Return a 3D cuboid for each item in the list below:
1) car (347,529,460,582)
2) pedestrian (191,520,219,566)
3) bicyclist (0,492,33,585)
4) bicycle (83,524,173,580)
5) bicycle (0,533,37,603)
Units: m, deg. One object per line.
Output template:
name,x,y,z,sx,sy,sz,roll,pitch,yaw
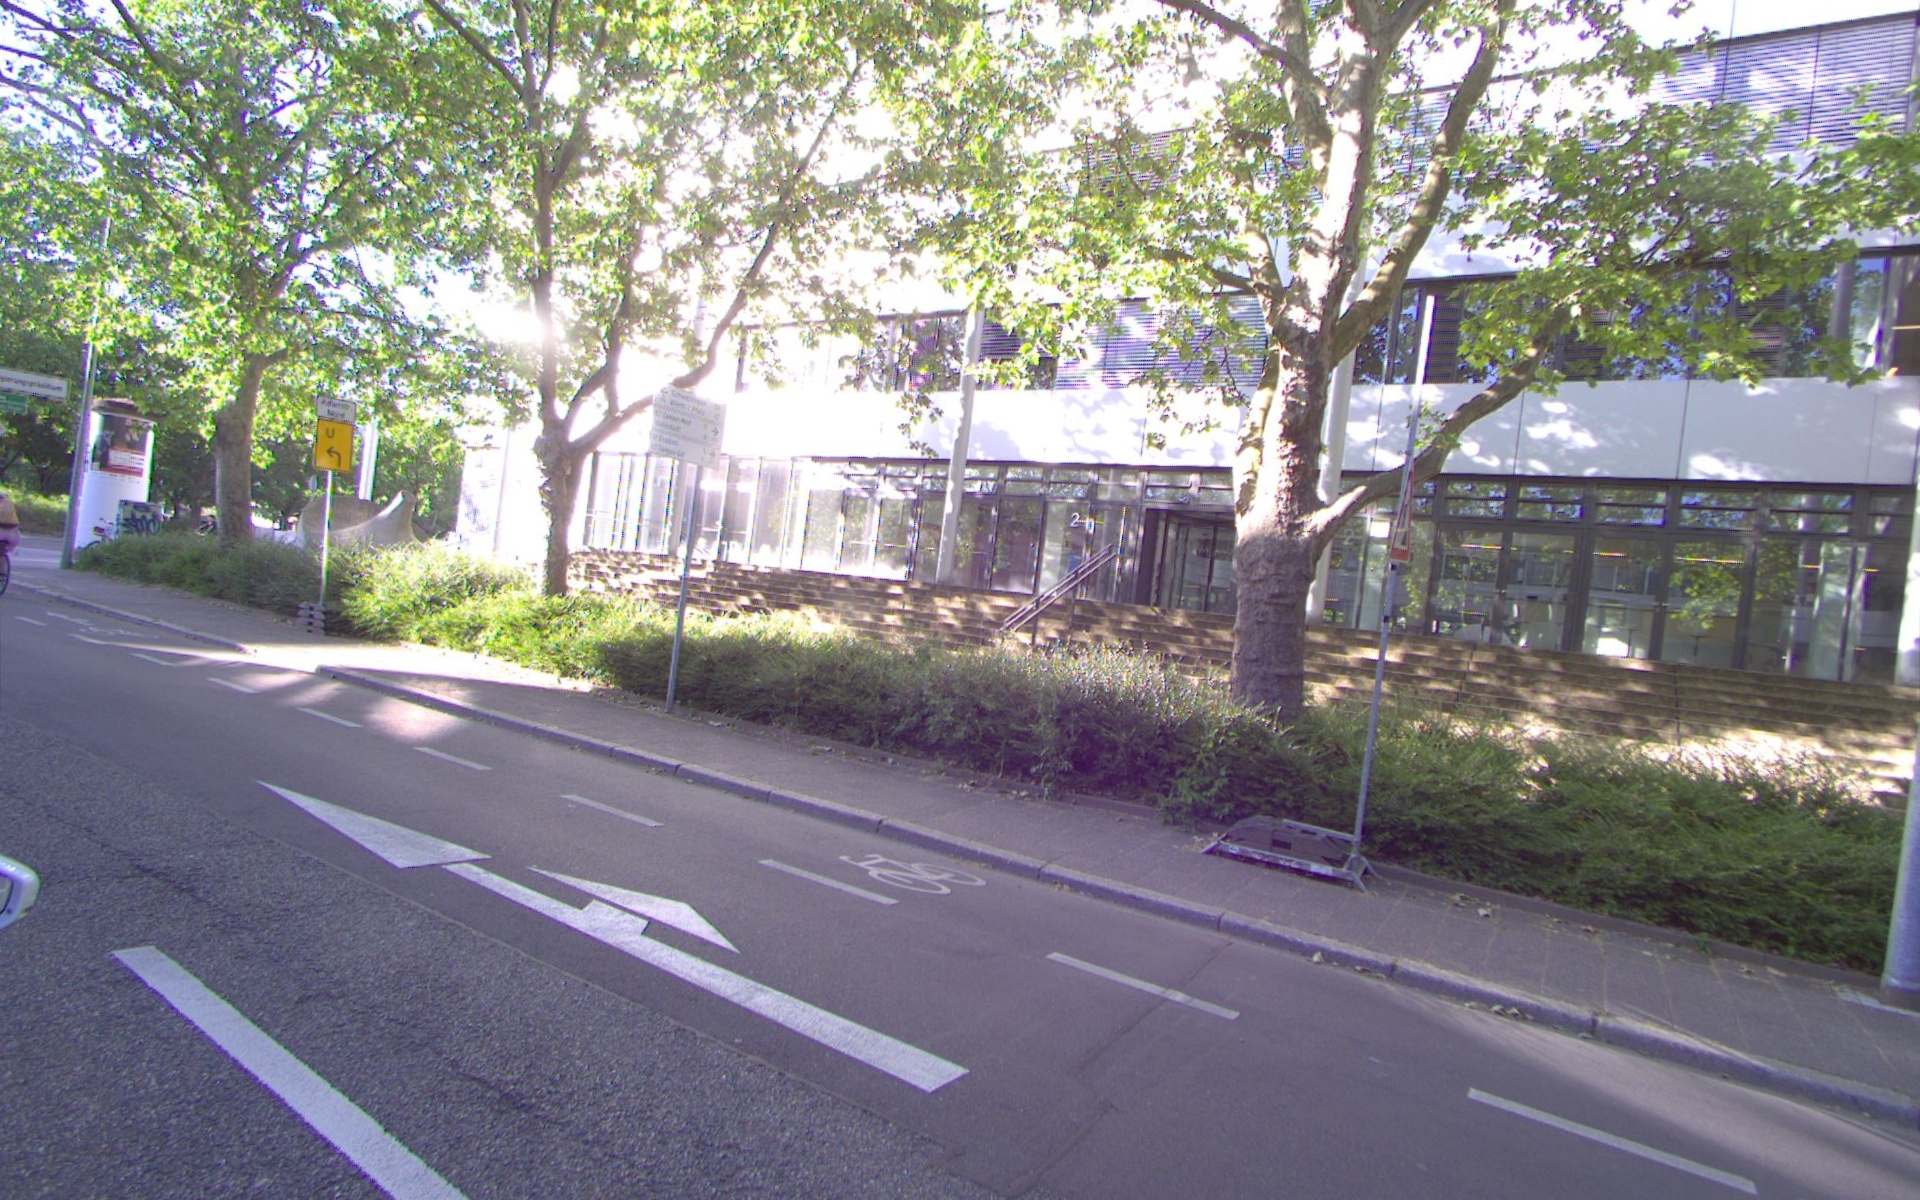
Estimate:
car,-25.866,-2.050,46.871,1.969,1.805,3.998,7,-1,37
pedestrian,-31.470,-2.392,41.935,0.620,1.805,0.620,7,0,34
bicyclist,-15.398,-1.016,15.994,0.915,1.417,0.602,7,-2,32
bicycle,-19.087,-1.088,23.094,0.529,1.049,1.418,7,-1,28
bicycle,-15.473,-0.575,15.997,1.850,0.996,0.602,7,-2,32
